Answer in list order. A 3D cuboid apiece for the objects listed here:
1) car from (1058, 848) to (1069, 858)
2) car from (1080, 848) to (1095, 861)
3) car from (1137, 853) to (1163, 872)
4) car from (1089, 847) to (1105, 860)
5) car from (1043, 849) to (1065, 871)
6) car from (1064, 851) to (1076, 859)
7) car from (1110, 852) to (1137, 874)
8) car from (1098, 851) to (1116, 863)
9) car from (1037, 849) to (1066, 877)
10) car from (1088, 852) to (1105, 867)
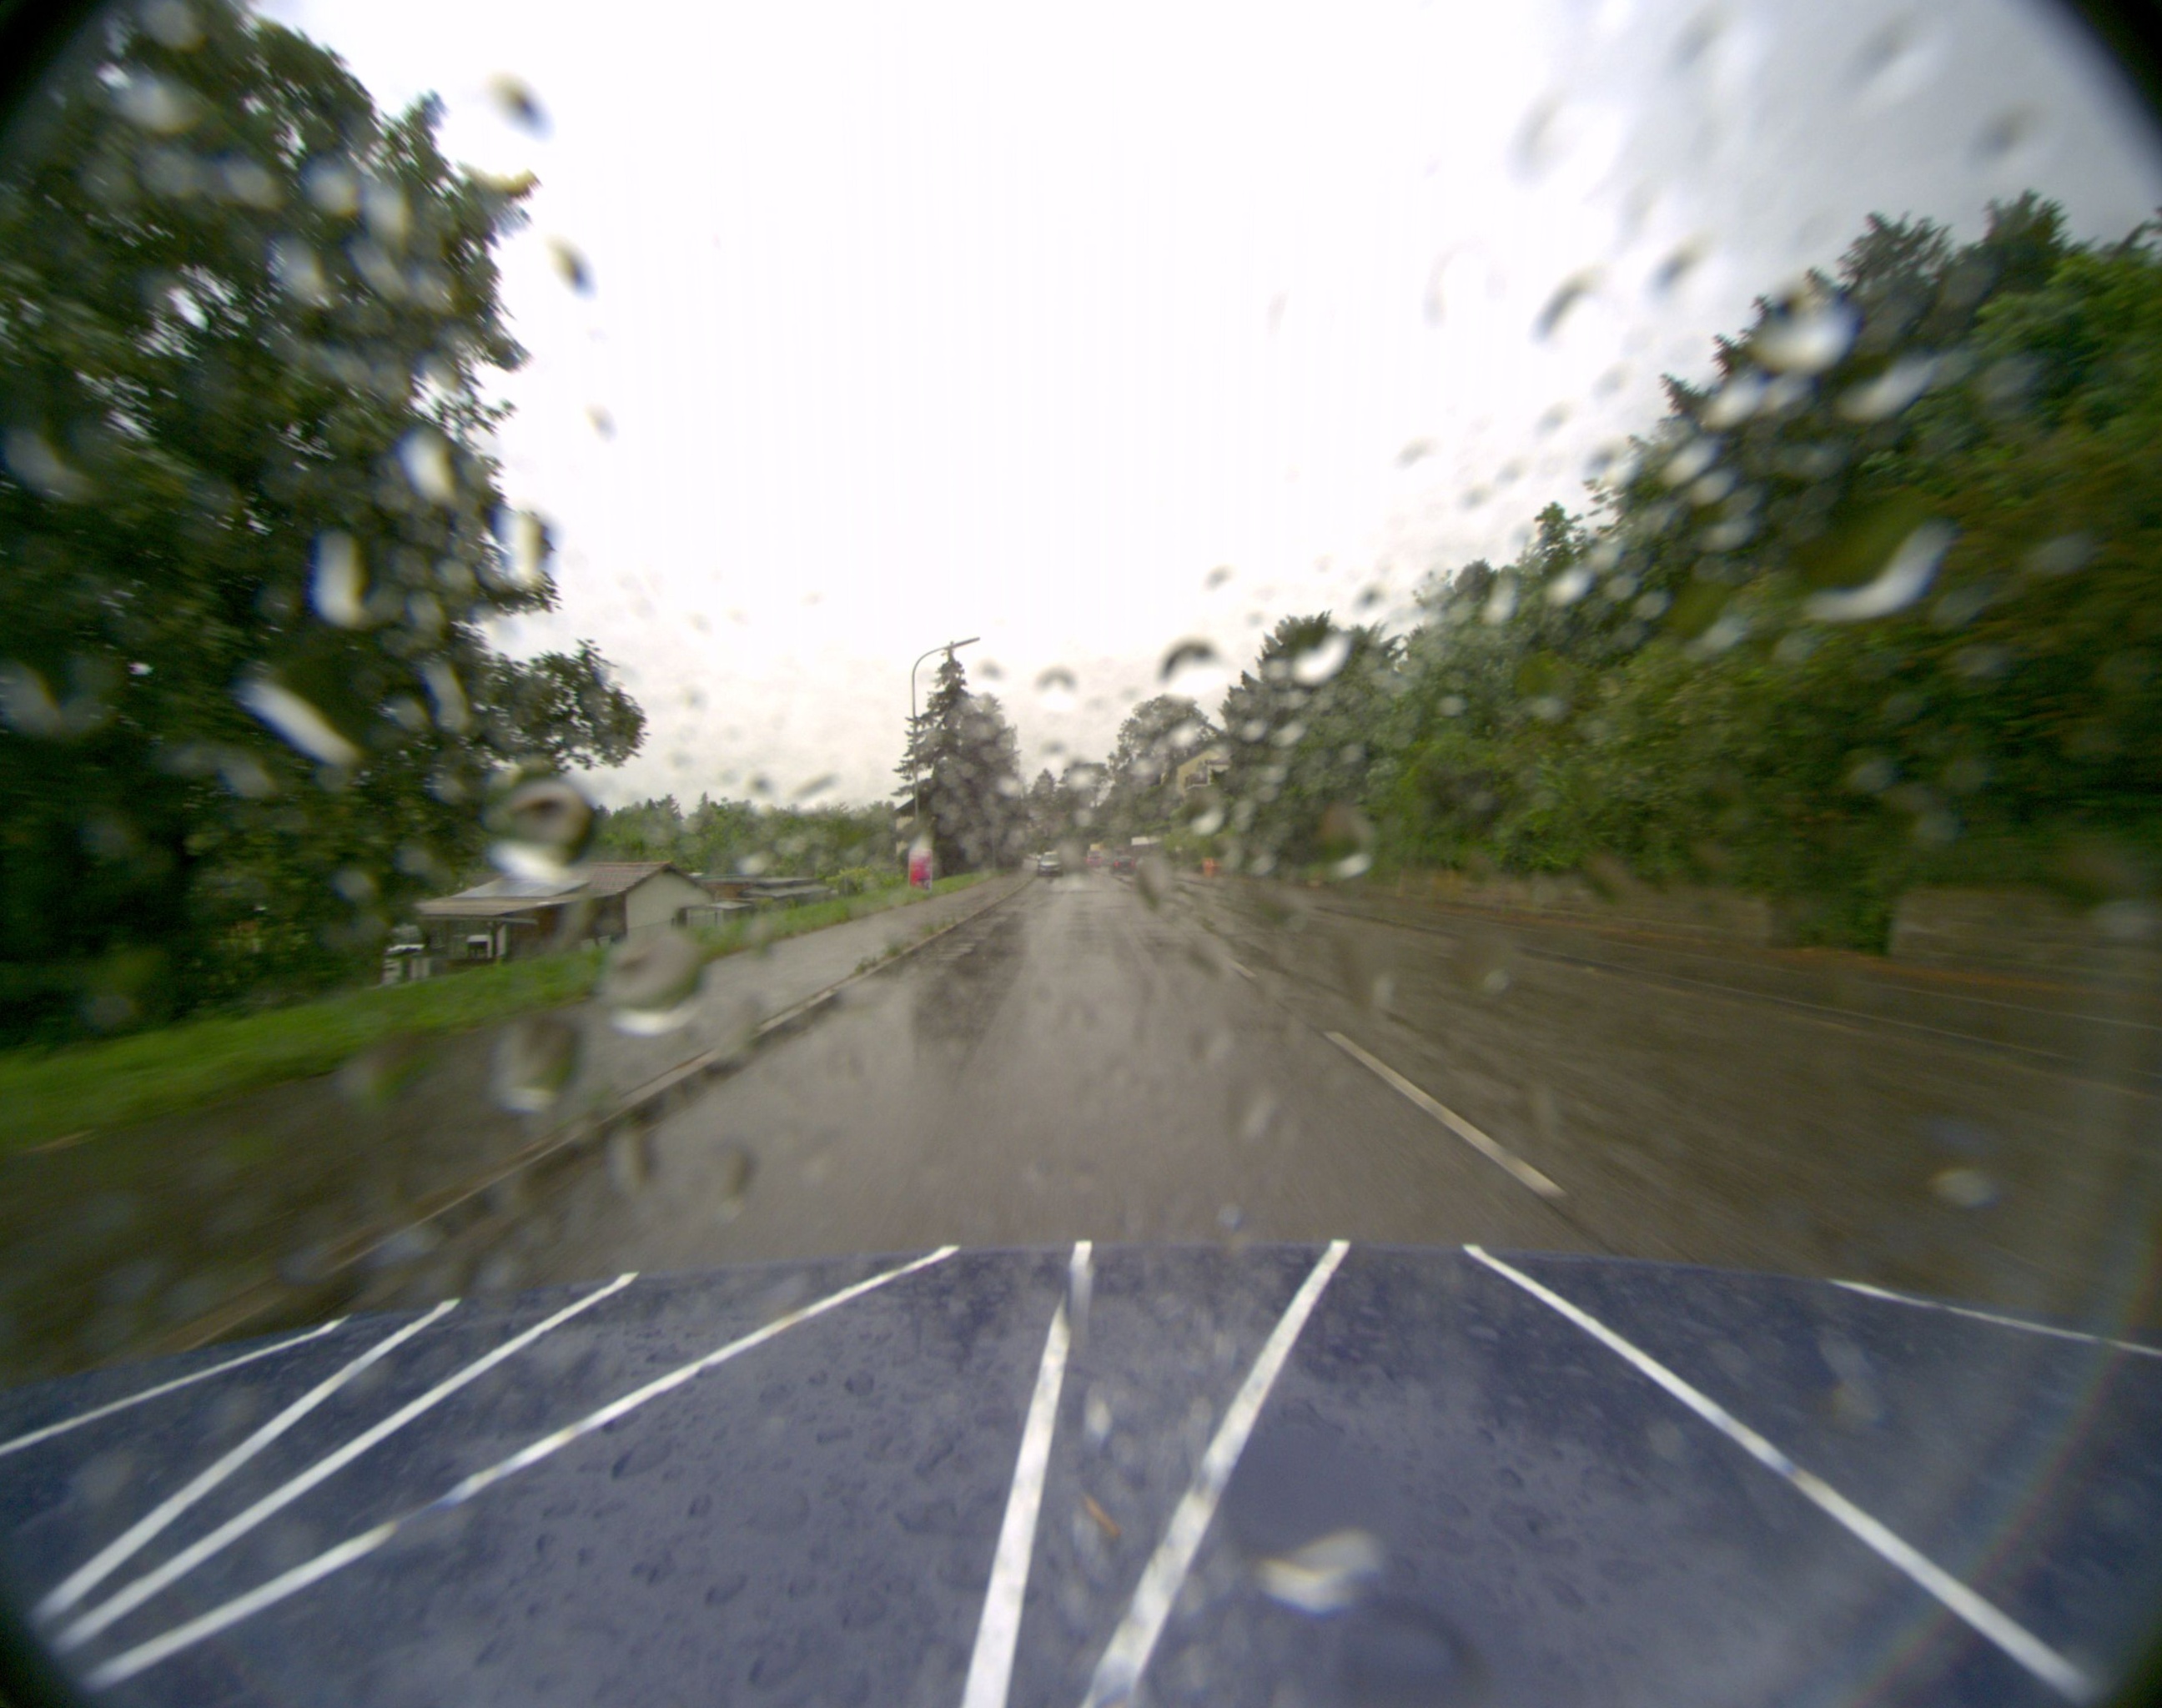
[{"bbox_3d":[-3.836,-0.113,166.977,1.855,2.137,3.701,-1,0,-11],"label":"car"},{"bbox_3d":[1.135,0.082,132.756,1.855,2.137,3.701,-1,0,-11],"label":"car"},{"bbox_3d":[6.028,0.721,66.465,1.853,1.583,3.705,-1,0,0],"label":"car"},{"bbox_3d":[2.609,-0.033,123.807,1.855,2.137,3.701,-1,0,-11],"label":"car"},{"bbox_3d":[-2.800,0.622,79.276,1.998,2.168,4.000,-1,-1,1],"label":"car"},{"bbox_3d":[-2.329,0.272,157.325,1.855,1.583,3.701,-1,0,-11],"label":"car"},{"bbox_3d":[3.307,0.700,59.693,1.853,1.583,3.705,-1,0,0],"label":"car"},{"bbox_3d":[3.519,0.395,103.287,1.854,1.583,3.702,-1,0,-7],"label":"car"},{"bbox_3d":[-2.189,0.701,57.797,1.998,2.001,4.000,-1,-1,1],"label":"car"},{"bbox_3d":[1.795,0.656,88.591,1.853,1.583,5.145,-1,0,0],"label":"car"}]
